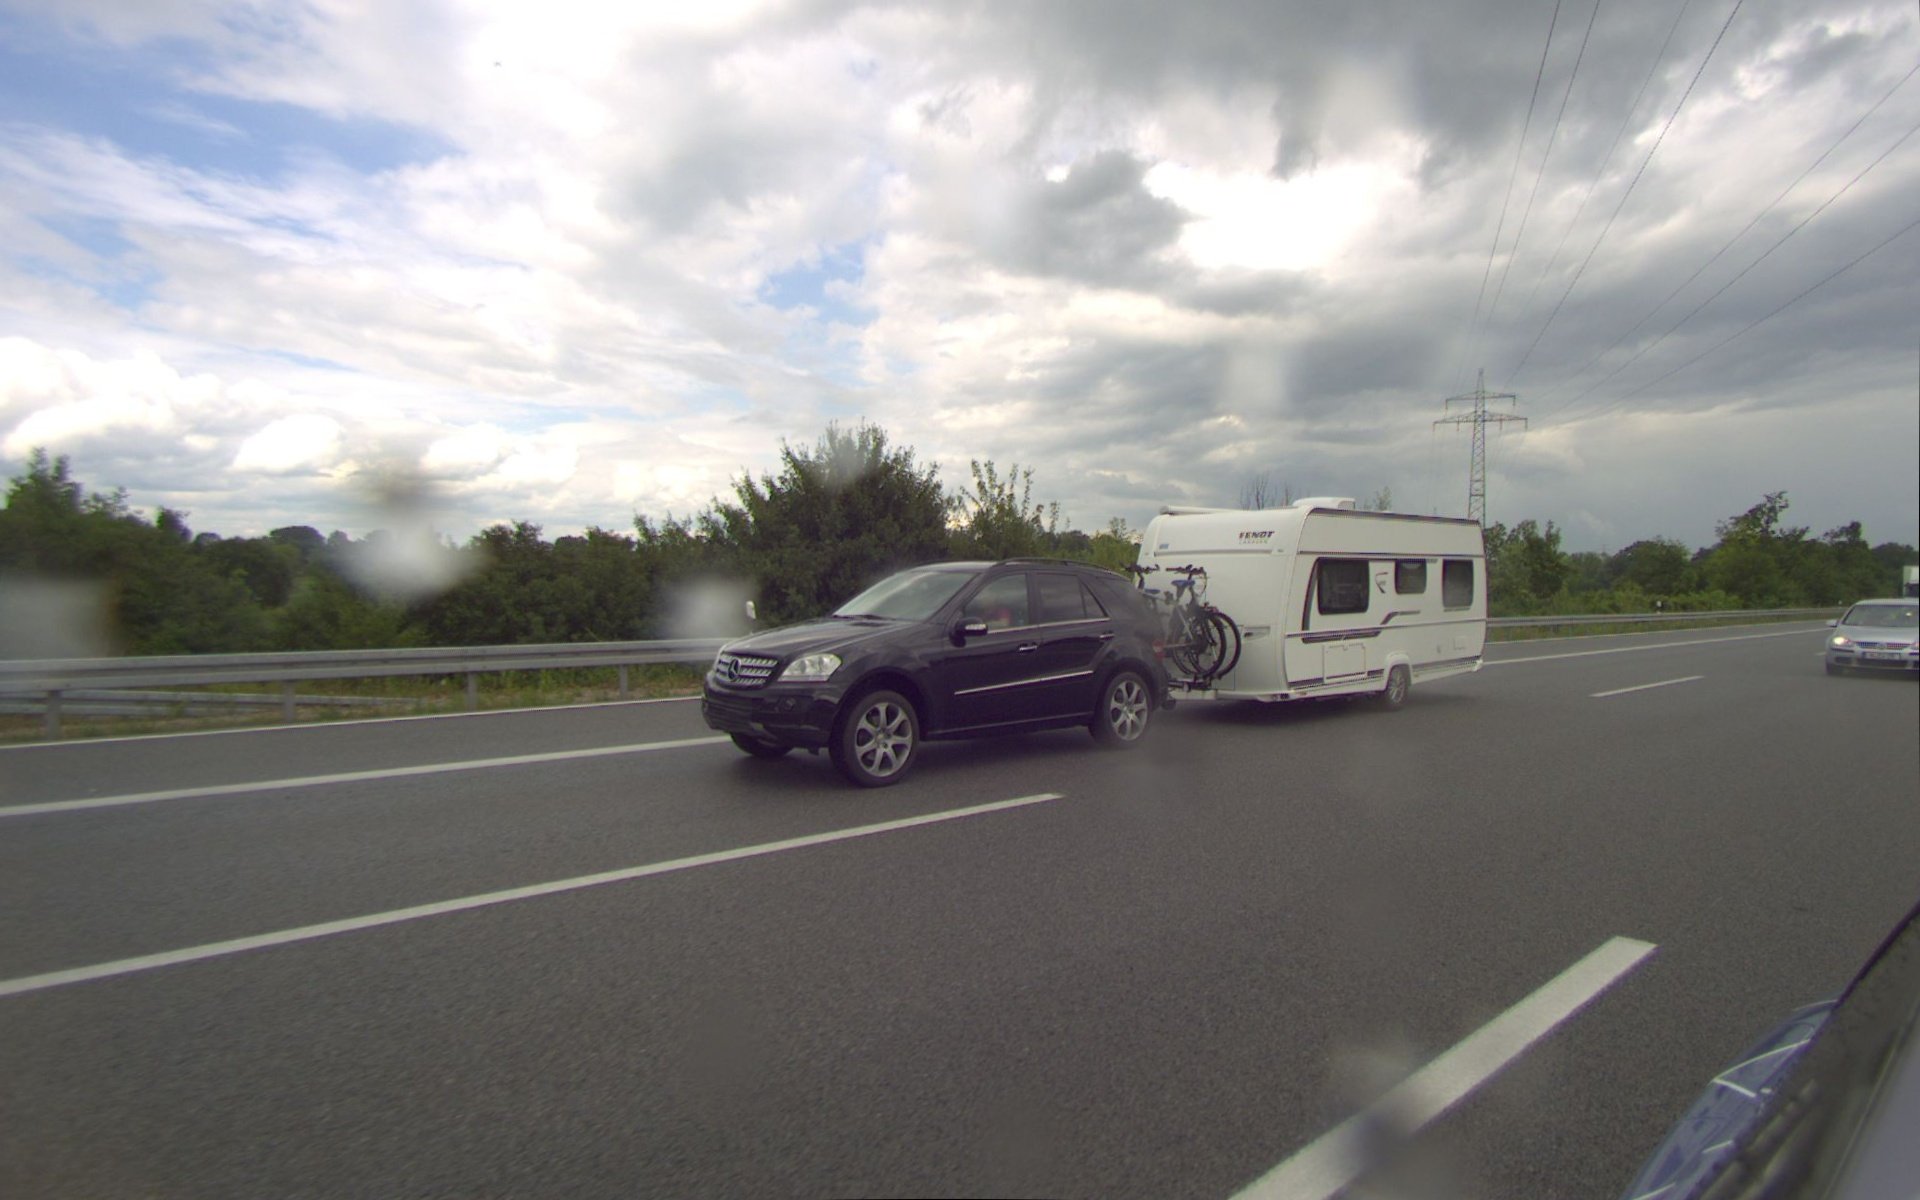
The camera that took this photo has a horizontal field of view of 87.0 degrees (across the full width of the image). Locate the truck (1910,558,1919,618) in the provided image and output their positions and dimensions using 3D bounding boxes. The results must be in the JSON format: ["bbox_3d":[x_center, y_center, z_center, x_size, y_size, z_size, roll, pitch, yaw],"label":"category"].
[{"bbox_3d":[63.196,-0.766,64.524,9.426,3.700,2.868,0,0,-41],"label":"truck"}]

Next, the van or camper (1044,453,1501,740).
[{"bbox_3d":[4.371,-0.059,13.056,7.086,2.773,2.387,0,0,-42],"label":"van or camper"}]

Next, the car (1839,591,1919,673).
[{"bbox_3d":[18.509,0.568,19.615,3.930,1.464,1.682,0,1,-41],"label":"car"}]

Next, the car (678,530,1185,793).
[{"bbox_3d":[-0.064,0.396,9.146,4.426,1.798,1.922,0,1,-43],"label":"car"}]
